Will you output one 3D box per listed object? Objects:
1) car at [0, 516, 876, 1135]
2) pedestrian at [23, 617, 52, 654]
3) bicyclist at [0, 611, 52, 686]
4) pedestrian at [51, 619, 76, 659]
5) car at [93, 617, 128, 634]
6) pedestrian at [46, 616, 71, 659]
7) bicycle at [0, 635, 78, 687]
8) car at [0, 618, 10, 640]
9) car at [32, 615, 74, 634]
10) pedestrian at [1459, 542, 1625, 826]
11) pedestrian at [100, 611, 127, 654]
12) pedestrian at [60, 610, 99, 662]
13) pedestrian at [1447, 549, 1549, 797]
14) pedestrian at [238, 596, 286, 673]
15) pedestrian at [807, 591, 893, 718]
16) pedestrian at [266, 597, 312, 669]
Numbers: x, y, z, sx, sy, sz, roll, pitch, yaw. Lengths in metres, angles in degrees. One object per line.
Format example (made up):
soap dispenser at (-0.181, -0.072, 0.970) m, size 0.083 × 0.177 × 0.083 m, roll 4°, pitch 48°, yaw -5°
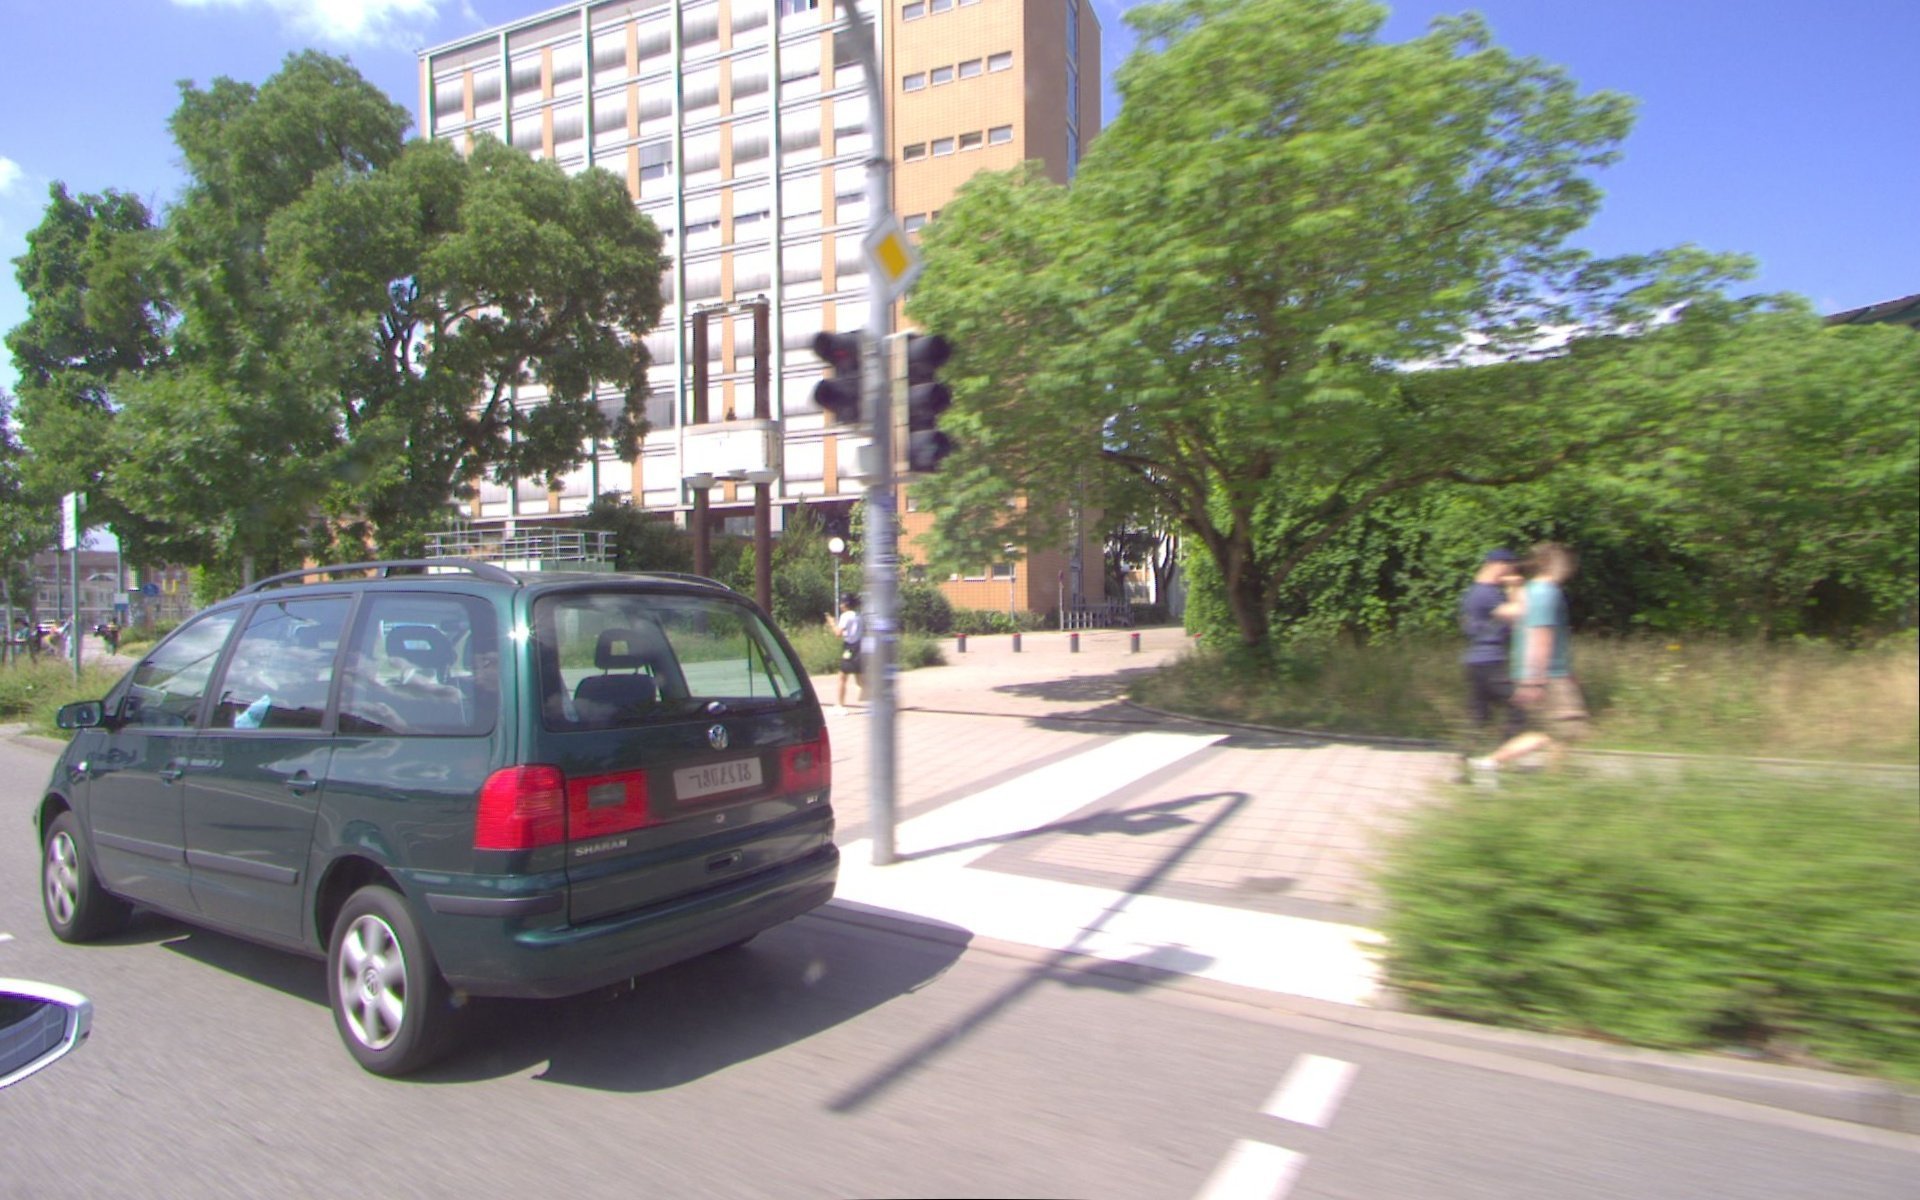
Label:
car at (-2.697, 0.701, 4.779) m, size 4.384 × 1.744 × 1.792 m, roll -1°, pitch -3°, yaw 32°
pedestrian at (-41.517, 1.599, 45.072) m, size 0.750 × 1.609 × 0.755 m, roll -1°, pitch -2°, yaw 29°
bicyclist at (-21.153, 1.086, 22.571) m, size 0.572 × 1.623 × 0.825 m, roll -2°, pitch 2°, yaw 34°
pedestrian at (-37.385, 1.621, 41.769) m, size 0.644 × 1.647 × 0.768 m, roll -3°, pitch 1°, yaw -39°
car at (-85.372, 2.522, 100.673) m, size 1.859 × 1.663 × 3.940 m, roll 0°, pitch -1°, yaw -27°
pedestrian at (-34.800, 1.438, 38.653) m, size 0.718 × 1.646 × 0.585 m, roll -1°, pitch -2°, yaw 36°
bicycle at (-21.155, 1.375, 22.556) m, size 0.584 × 1.064 × 1.804 m, roll -2°, pitch 1°, yaw 34°
car at (-73.497, 2.196, 75.673) m, size 1.863 × 1.663 × 3.929 m, roll 0°, pitch -1°, yaw -35°
car at (-82.810, 2.220, 91.510) m, size 1.859 × 1.663 × 3.940 m, roll 0°, pitch -1°, yaw -27°
pedestrian at (3.929, 0.533, 6.836) m, size 0.866 × 1.802 × 0.750 m, roll 0°, pitch 1°, yaw 22°
pedestrian at (-36.965, 1.409, 43.720) m, size 0.665 × 1.844 × 0.753 m, roll -1°, pitch -2°, yaw 37°
pedestrian at (-32.433, 1.316, 36.883) m, size 0.768 × 1.846 × 0.754 m, roll -1°, pitch 3°, yaw 29°
pedestrian at (4.044, 0.523, 7.563) m, size 0.599 × 1.770 × 0.666 m, roll 0°, pitch 1°, yaw 21°
pedestrian at (-16.988, 0.821, 24.365) m, size 0.601 × 1.827 × 0.747 m, roll 0°, pitch 2°, yaw 34°
pedestrian at (-1.435, 0.692, 13.186) m, size 0.866 × 1.618 × 0.750 m, roll 0°, pitch 1°, yaw 20°
pedestrian at (-16.931, 0.831, 25.270) m, size 0.601 × 1.776 × 0.747 m, roll 0°, pitch 2°, yaw 34°
